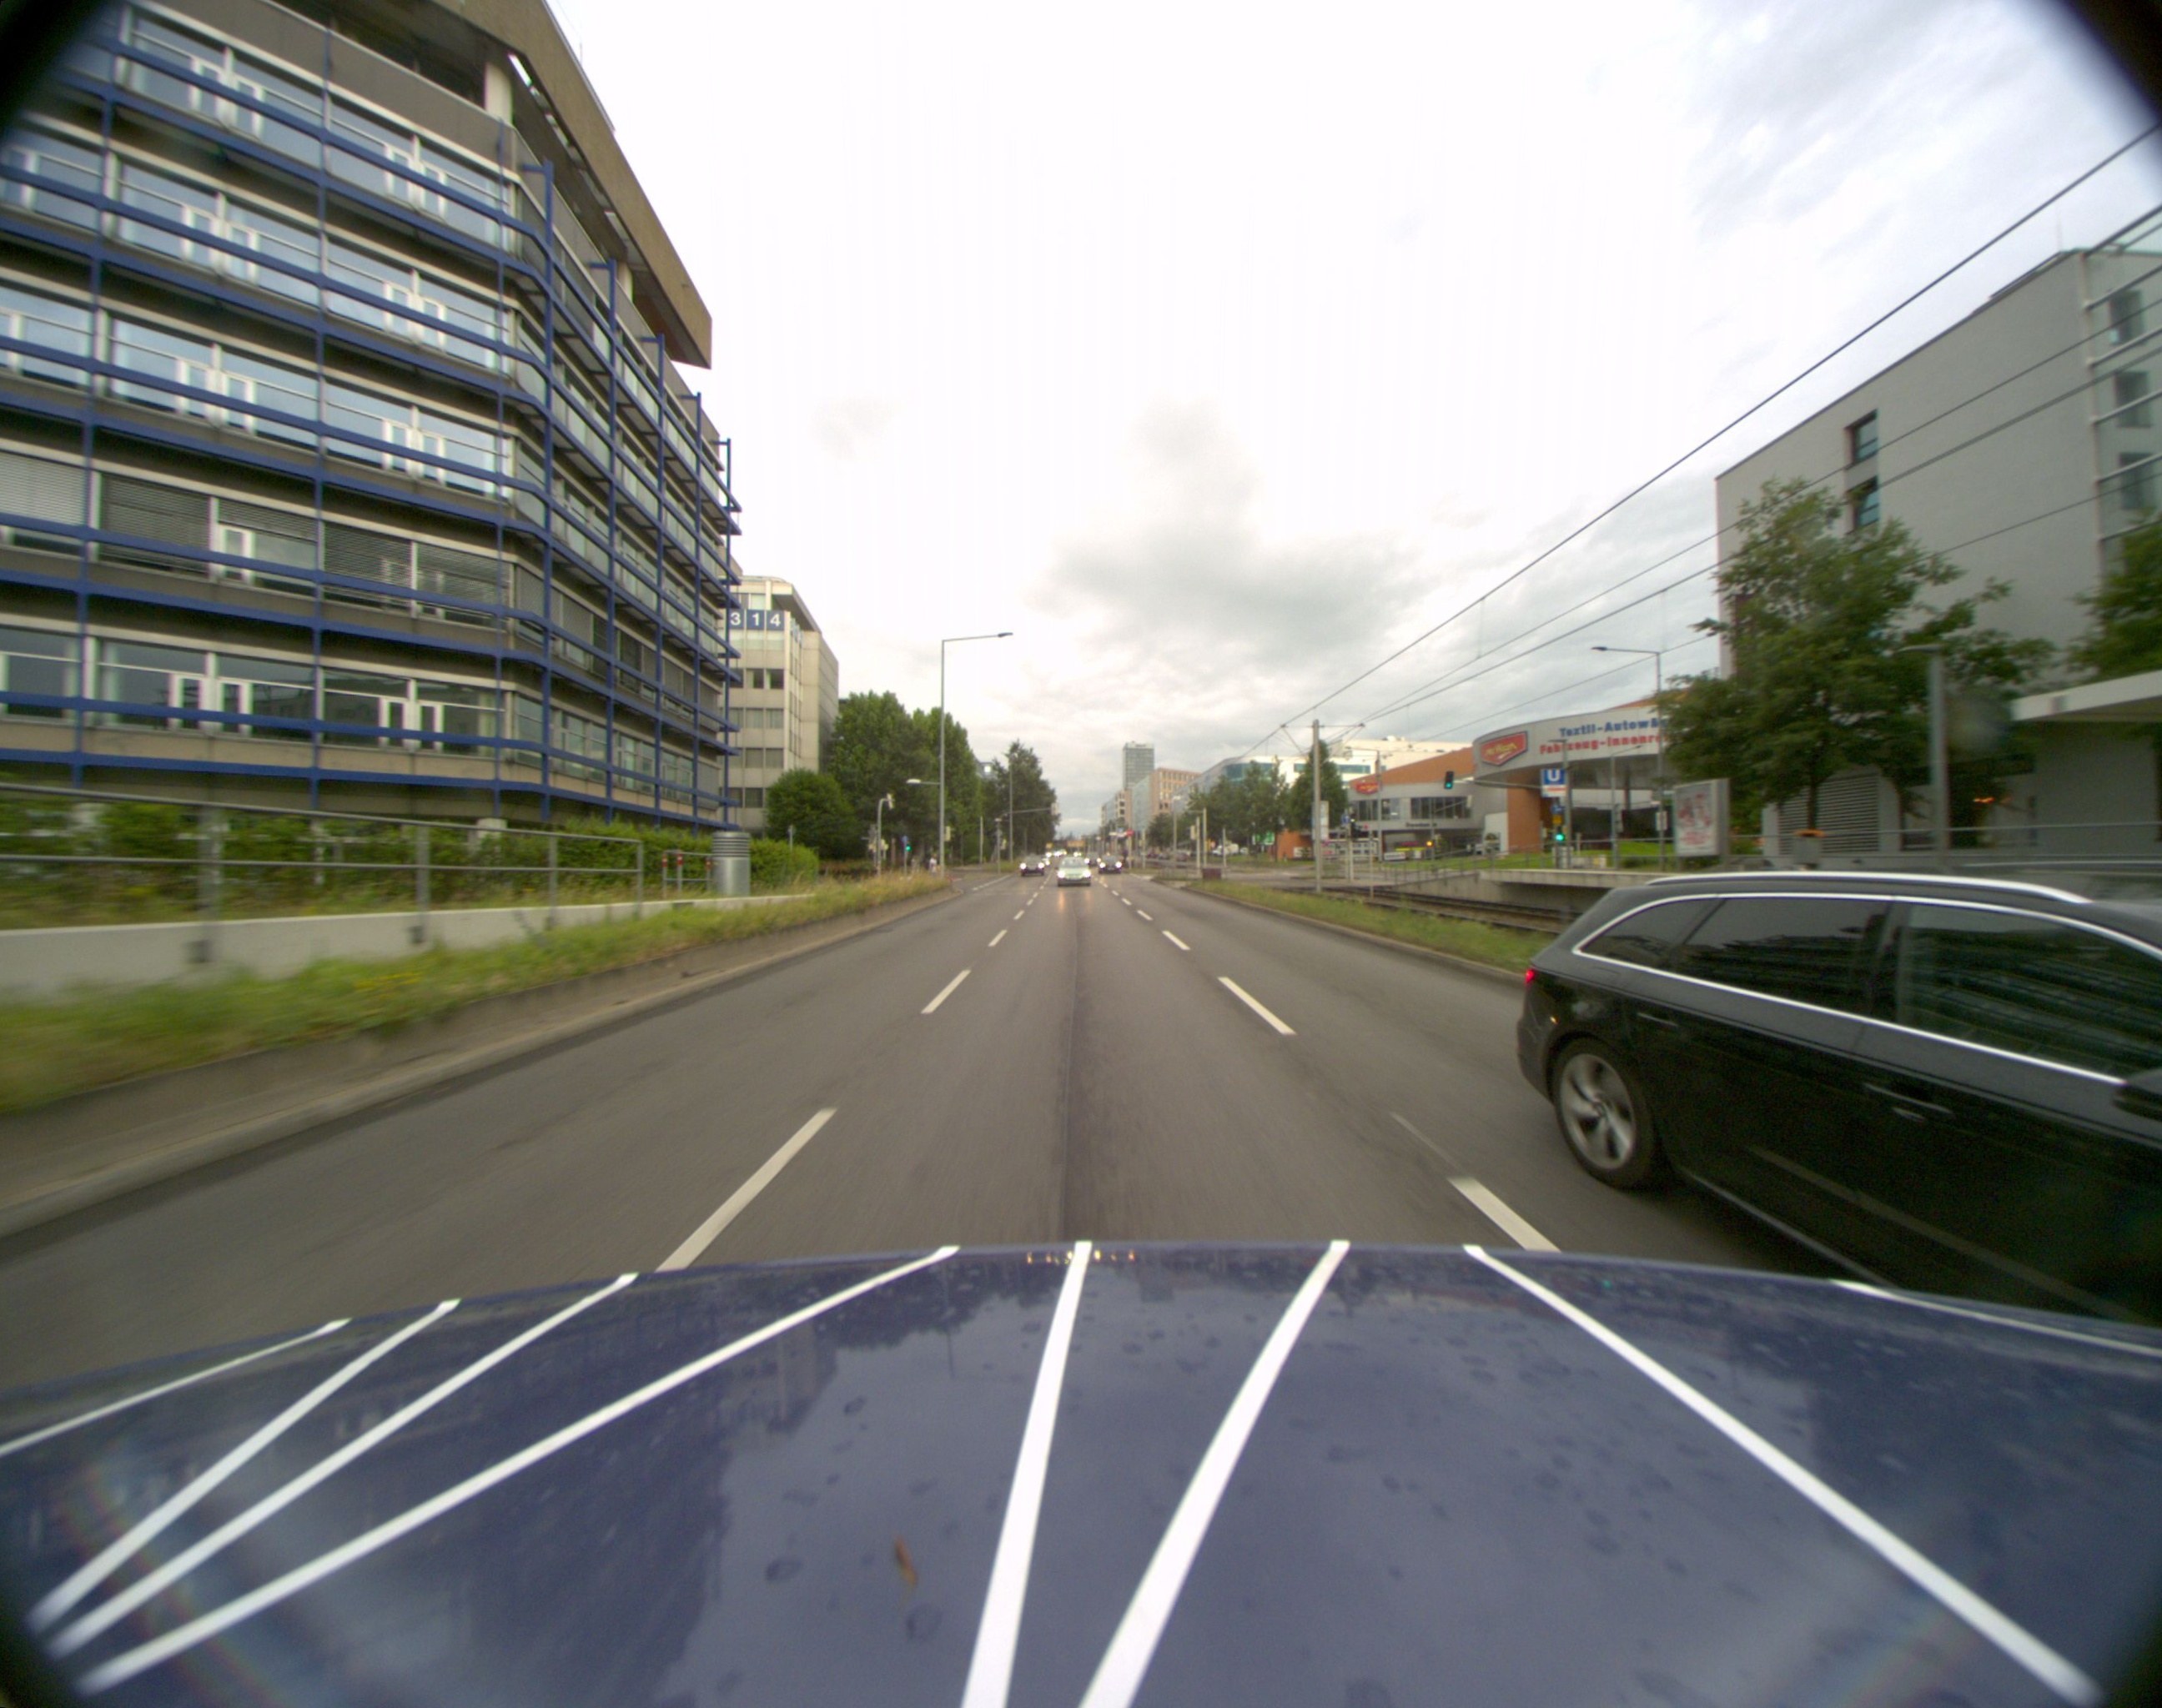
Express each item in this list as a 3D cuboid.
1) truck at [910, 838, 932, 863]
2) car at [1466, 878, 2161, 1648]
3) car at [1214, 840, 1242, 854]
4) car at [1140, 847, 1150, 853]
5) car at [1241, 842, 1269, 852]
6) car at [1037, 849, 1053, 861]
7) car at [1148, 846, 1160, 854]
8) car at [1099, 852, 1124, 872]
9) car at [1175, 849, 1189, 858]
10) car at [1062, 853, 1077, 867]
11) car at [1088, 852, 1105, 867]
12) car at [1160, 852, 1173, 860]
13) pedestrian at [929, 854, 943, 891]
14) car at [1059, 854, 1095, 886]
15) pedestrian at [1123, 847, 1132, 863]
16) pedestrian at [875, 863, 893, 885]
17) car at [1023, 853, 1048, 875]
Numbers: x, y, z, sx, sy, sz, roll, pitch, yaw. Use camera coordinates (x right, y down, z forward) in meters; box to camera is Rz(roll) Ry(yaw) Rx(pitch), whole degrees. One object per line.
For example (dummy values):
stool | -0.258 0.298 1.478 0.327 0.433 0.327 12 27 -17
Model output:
truck | -17.110 -0.375 81.466 1.751 2.503 3.998 -2 1 -4
car | 3.080 0.884 1.791 1.795 1.426 4.827 -2 0 -1
car | 31.370 -1.462 161.956 5.488 2.614 2.275 -3 1 -18
car | 17.390 -1.164 205.660 1.999 1.509 4.705 -2 1 -3
car | 37.404 -1.575 163.505 5.484 1.915 2.277 -2 1 -7
car | -4.650 0.126 97.958 1.873 1.533 4.106 -2 0 -1
car | 15.834 -0.925 165.466 1.999 1.764 4.388 -1 1 -1
car | 2.395 0.582 60.651 1.799 1.493 3.999 -2 0 -1
car | 17.341 -0.083 130.557 1.733 1.415 3.778 -1 1 -2
car | -1.384 0.694 91.183 1.781 1.552 3.739 -2 0 -1
car | 1.797 0.585 88.858 1.781 1.670 4.130 -2 0 -1
car | 16.636 0.405 148.190 1.858 1.419 4.387 1 0 -3
pedestrian | -6.542 0.835 34.328 0.556 1.643 0.831 -1 1 -10
car | -0.266 0.800 40.830 1.804 1.533 4.373 -2 0 -1
pedestrian | 4.802 0.110 78.568 0.704 1.641 0.648 -2 1 -30
pedestrian | -14.217 1.419 54.853 0.901 1.532 0.801 0 1 38
car | -3.616 0.743 61.228 1.816 1.660 4.547 -2 0 -1
